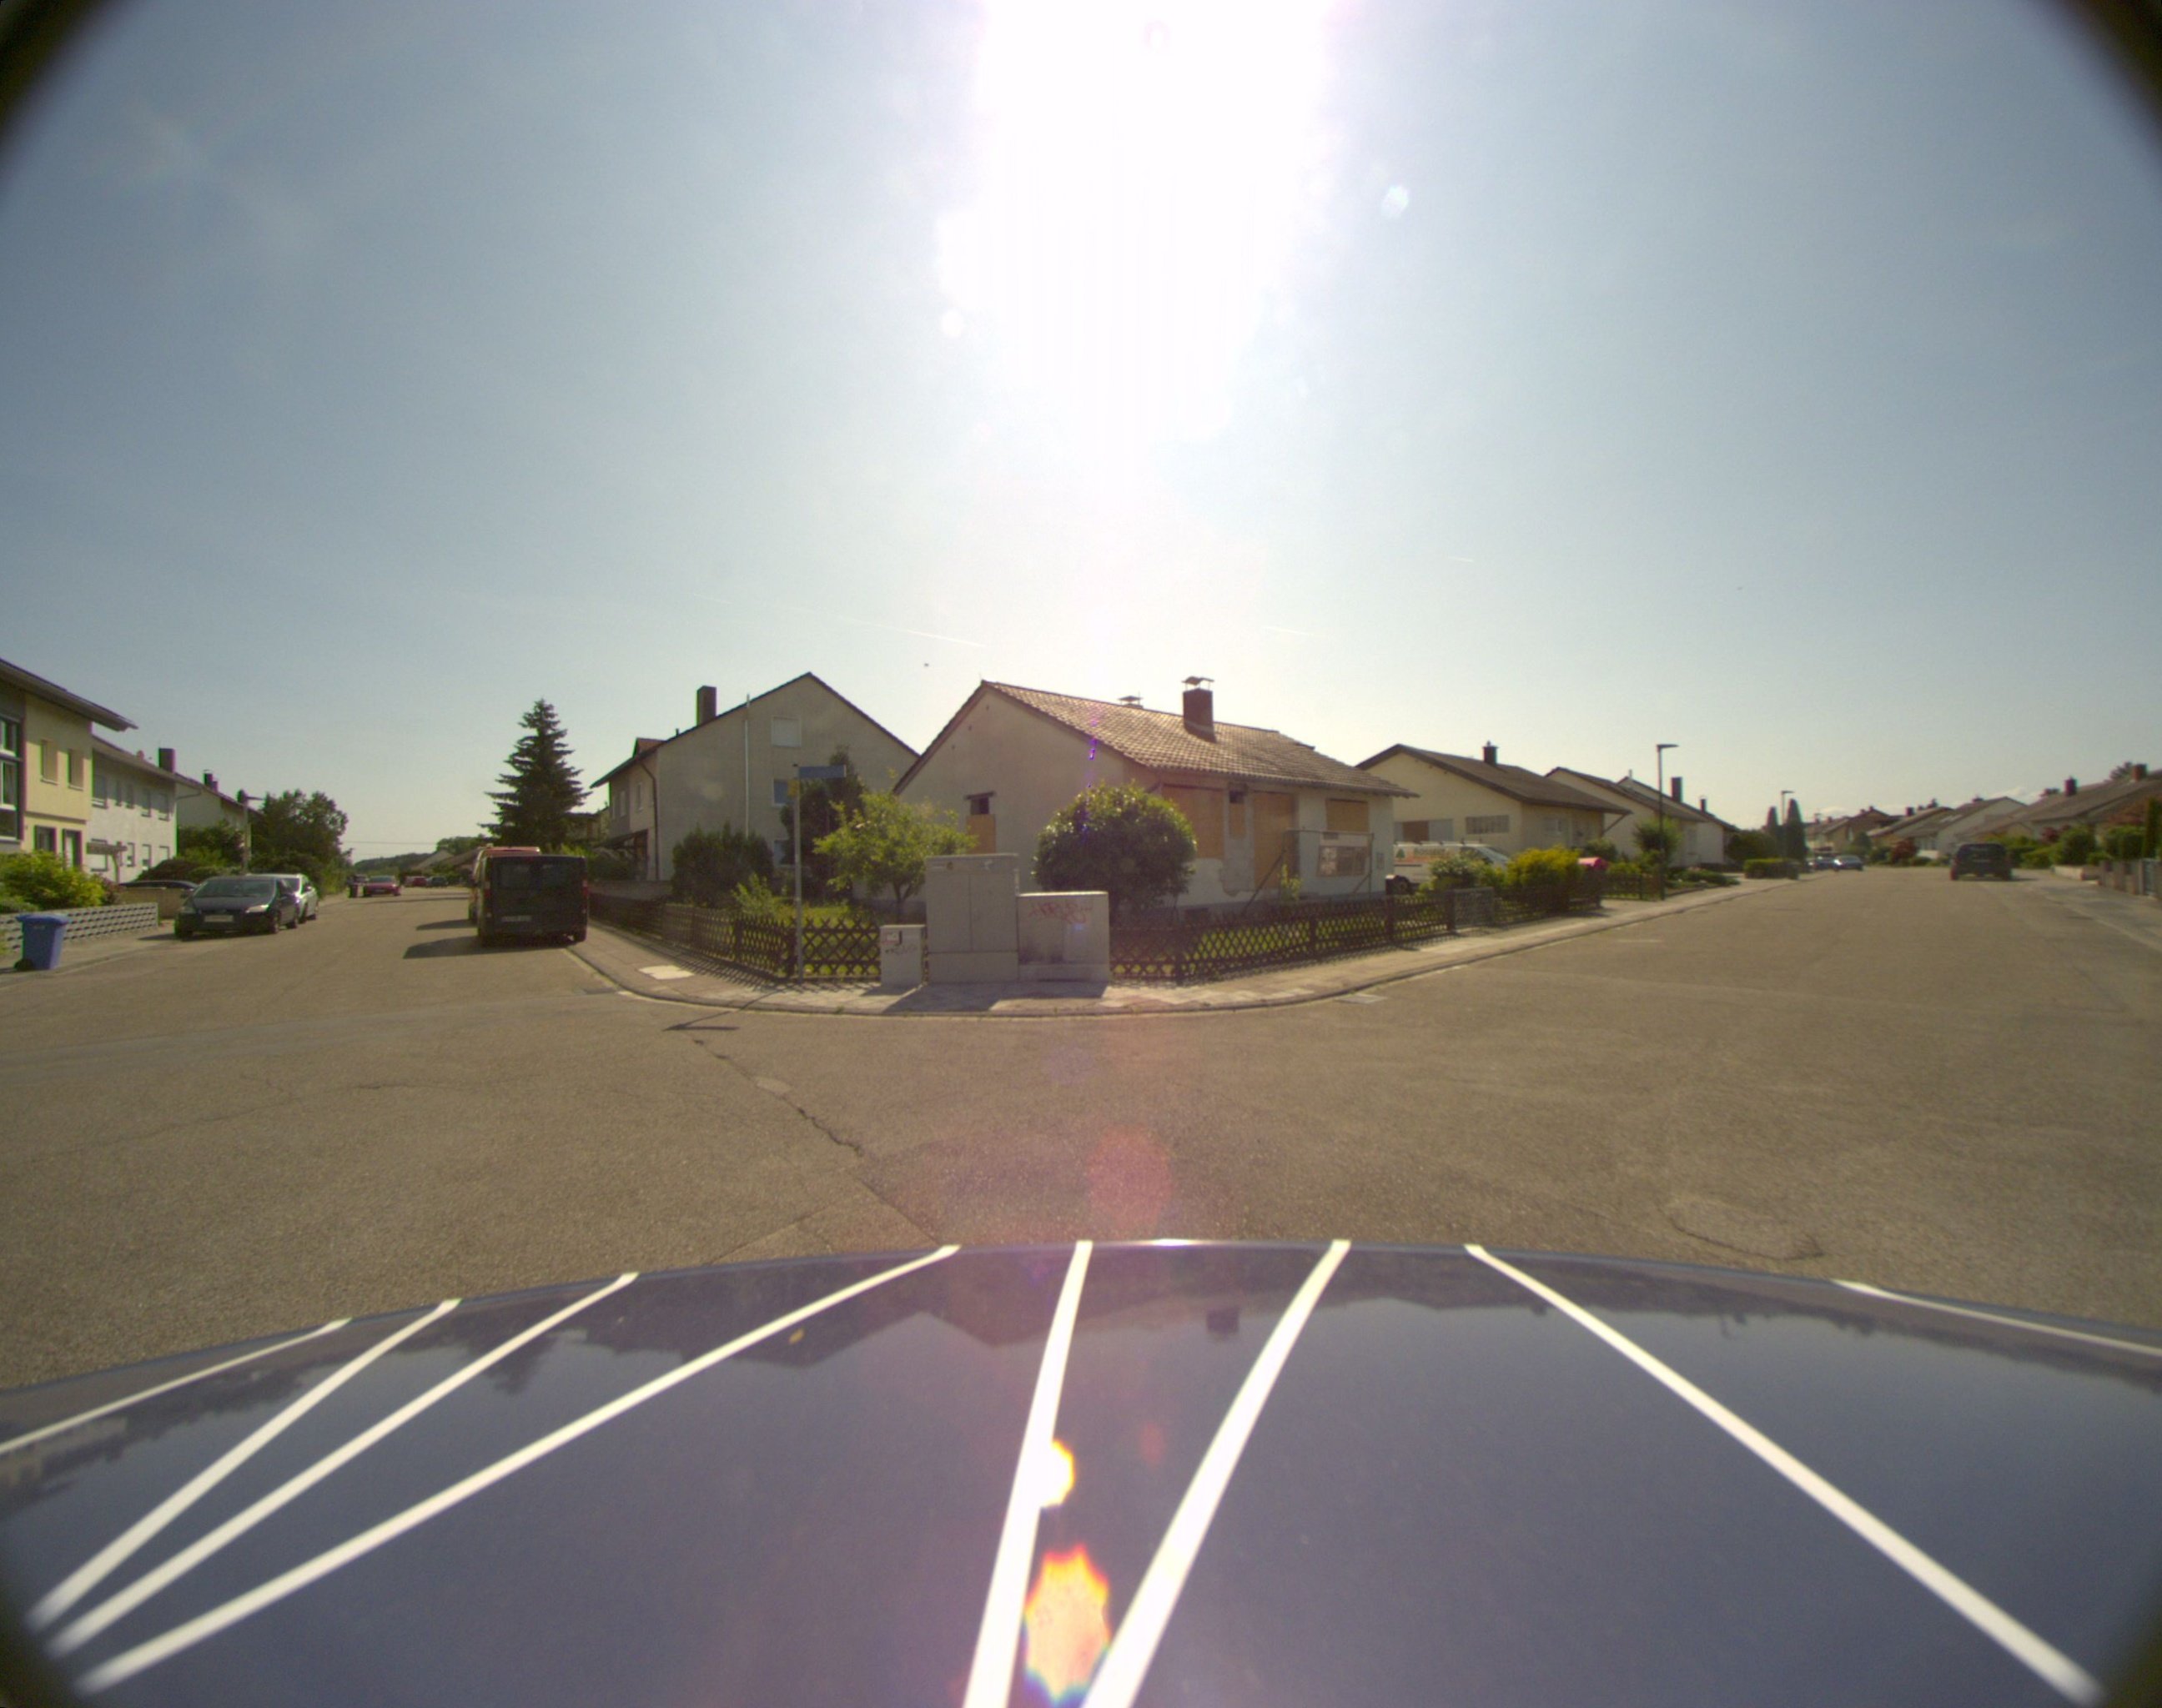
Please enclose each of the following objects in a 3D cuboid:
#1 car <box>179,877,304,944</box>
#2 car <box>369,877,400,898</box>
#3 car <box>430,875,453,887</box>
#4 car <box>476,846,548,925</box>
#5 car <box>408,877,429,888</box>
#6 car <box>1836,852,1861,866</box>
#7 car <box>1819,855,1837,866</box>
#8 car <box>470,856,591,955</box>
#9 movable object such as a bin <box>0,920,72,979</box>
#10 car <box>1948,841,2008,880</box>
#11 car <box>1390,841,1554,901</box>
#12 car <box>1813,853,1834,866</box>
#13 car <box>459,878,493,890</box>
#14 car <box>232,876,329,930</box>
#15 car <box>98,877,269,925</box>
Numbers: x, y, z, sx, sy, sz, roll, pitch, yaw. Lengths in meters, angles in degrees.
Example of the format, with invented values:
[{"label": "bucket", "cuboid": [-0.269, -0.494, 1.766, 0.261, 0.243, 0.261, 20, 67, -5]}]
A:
[{"label": "car", "cuboid": [-23.207, 1.481, 21.163, 1.636, 1.616, 3.990, -2, 0, -38]}, {"label": "car", "cuboid": [-49.520, 2.366, 54.057, 1.521, 1.398, 3.667, -2, 0, -42]}, {"label": "car", "cuboid": [-80.203, 3.414, 95.287, 3.989, 1.332, 1.714, -4, -1, 42]}, {"label": "car", "cuboid": [-18.483, 0.971, 24.621, 1.559, 2.310, 4.193, -2, 0, -40]}, {"label": "car", "cuboid": [-89.970, 3.864, 103.207, 3.989, 1.332, 1.714, -4, -1, 42]}, {"label": "car", "cuboid": [71.988, 0.498, 71.300, 1.456, 1.270, 3.110, -1, 0, 43]}, {"label": "car", "cuboid": [87.291, 0.728, 88.761, 1.456, 1.270, 3.110, -1, 0, 44]}, {"label": "car", "cuboid": [-12.609, 1.064, 17.304, 1.875, 1.927, 4.193, -2, 0, -40]}, {"label": "movable object such as a bin", "cuboid": [-18.005, 1.626, 13.105, 0.586, 0.911, 0.596, -2, 1, -41]}, {"label": "car", "cuboid": [43.123, 0.288, 36.605, 3.659, 1.767, 1.766, -1, -1, -41]}, {"label": "car", "cuboid": [14.227, 0.587, 27.931, 1.871, 2.002, 4.999, -1, 0, -40]}, {"label": "car", "cuboid": [79.903, 0.586, 81.783, 1.456, 1.270, 3.110, -1, 0, 42]}, {"label": "car", "cuboid": [-83.118, 4.110, 104.332, 1.633, 1.521, 3.422, -1, 0, 44]}, {"label": "car", "cuboid": [-26.964, 1.593, 25.721, 1.636, 1.616, 3.990, -2, 0, -38]}, {"label": "car", "cuboid": [-36.275, 1.867, 30.902, 4.184, 1.608, 1.871, -2, -1, -40]}]
